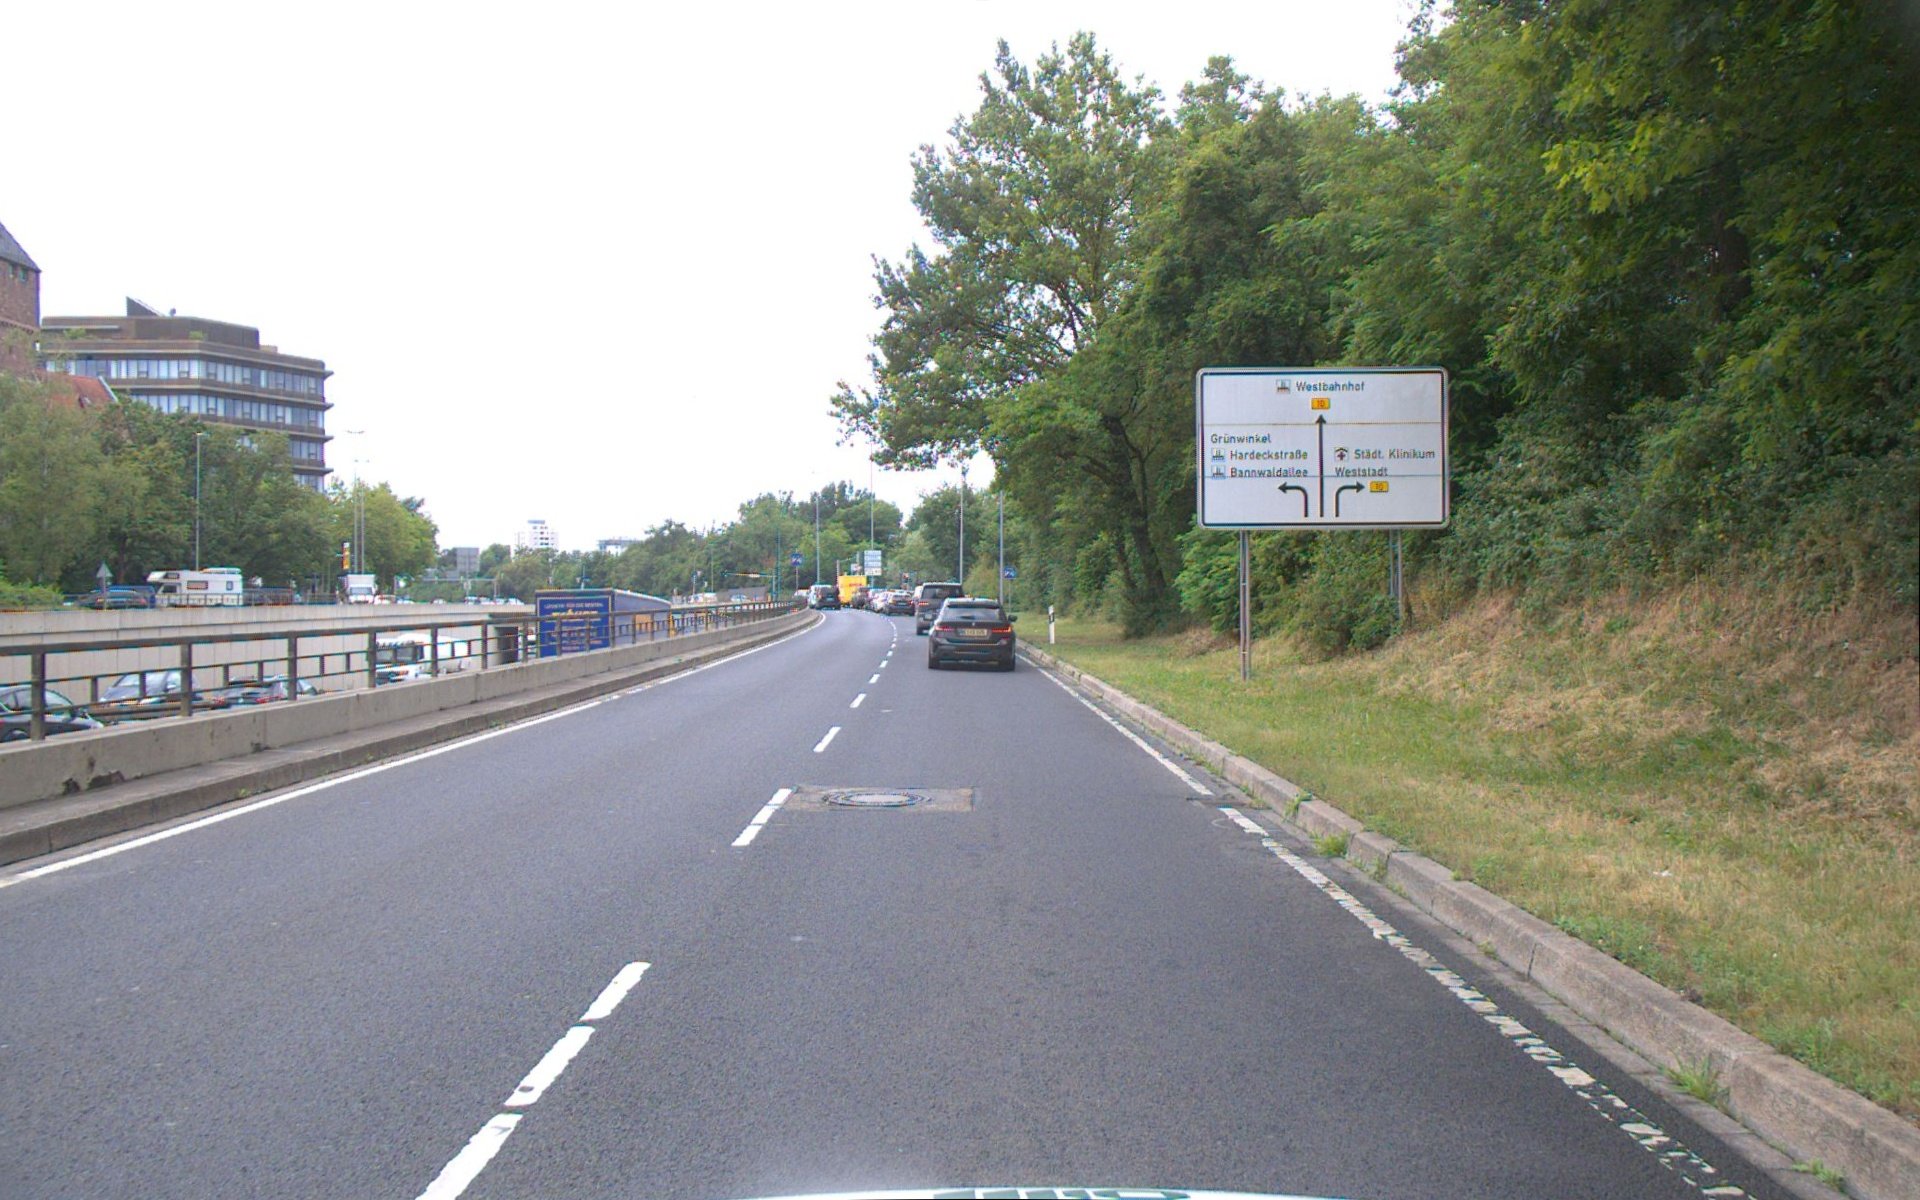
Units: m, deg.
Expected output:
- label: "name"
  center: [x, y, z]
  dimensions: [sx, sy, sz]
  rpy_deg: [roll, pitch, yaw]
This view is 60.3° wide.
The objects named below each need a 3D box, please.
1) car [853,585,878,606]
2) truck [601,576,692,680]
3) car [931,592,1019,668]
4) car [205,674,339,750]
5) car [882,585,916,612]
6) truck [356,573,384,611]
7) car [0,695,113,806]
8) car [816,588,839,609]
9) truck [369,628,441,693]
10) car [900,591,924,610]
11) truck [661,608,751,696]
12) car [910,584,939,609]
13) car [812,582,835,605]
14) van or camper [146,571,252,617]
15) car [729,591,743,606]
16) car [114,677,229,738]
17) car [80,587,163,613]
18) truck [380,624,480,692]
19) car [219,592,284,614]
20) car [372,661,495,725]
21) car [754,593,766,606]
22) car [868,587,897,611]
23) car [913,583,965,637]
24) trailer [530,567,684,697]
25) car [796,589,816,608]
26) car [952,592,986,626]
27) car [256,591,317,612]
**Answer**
- label: "car"
  center: [-8.186, -0.367, 142.697]
  dimensions: [1.849, 1.730, 4.423]
  rpy_deg: [1, 0, -6]
- label: "truck"
  center: [-12.977, 1.122, 68.824]
  dimensions: [2.794, 4.107, 6.094]
  rpy_deg: [-1, 0, -2]
- label: "car"
  center: [0.251, 0.582, 34.951]
  dimensions: [1.713, 1.451, 4.460]
  rpy_deg: [0, 1, -1]
- label: "car"
  center: [-16.365, 2.629, 39.528]
  dimensions: [1.590, 1.555, 3.896]
  rpy_deg: [1, 0, -1]
- label: "car"
  center: [-3.959, -0.093, 106.329]
  dimensions: [1.849, 1.620, 4.423]
  rpy_deg: [1, 0, -6]
- label: "truck"
  center: [-48.119, -0.648, 134.912]
  dimensions: [1.986, 3.039, 7.059]
  rpy_deg: [1, 0, -19]
- label: "car"
  center: [-16.272, 2.519, 28.280]
  dimensions: [1.622, 1.555, 3.895]
  rpy_deg: [1, 0, -2]
- label: "car"
  center: [-11.038, -0.104, 137.599]
  dimensions: [1.593, 1.731, 4.288]
  rpy_deg: [1, 0, -8]
- label: "truck"
  center: [-29.202, 3.157, 87.200]
  dimensions: [2.474, 3.276, 4.316]
  rpy_deg: [-1, 0, -3]
- label: "car"
  center: [-4.070, 0.030, 138.973]
  dimensions: [1.847, 1.572, 3.997]
  rpy_deg: [1, 0, -4]
- label: "truck"
  center: [-12.967, 2.514, 85.799]
  dimensions: [2.793, 4.107, 15.570]
  rpy_deg: [-1, 0, -2]
- label: "car"
  center: [-2.770, -0.271, 129.610]
  dimensions: [1.849, 1.912, 4.423]
  rpy_deg: [1, 0, -6]
- label: "car"
  center: [-12.055, -0.569, 145.627]
  dimensions: [1.849, 2.022, 4.423]
  rpy_deg: [1, 0, -6]
- label: "van or camper"
  center: [-49.346, -0.396, 107.310]
  dimensions: [2.110, 2.859, 5.884]
  rpy_deg: [1, -1, 44]
- label: "car"
  center: [-27.469, -0.180, 202.652]
  dimensions: [1.593, 1.731, 4.288]
  rpy_deg: [1, 0, -8]
- label: "car"
  center: [-23.663, 3.202, 49.790]
  dimensions: [1.590, 1.579, 3.952]
  rpy_deg: [-1, 0, -1]
- label: "car"
  center: [-48.487, 0.016, 95.733]
  dimensions: [1.597, 1.466, 3.982]
  rpy_deg: [1, 0, 38]
- label: "truck"
  center: [-29.445, 3.117, 92.415]
  dimensions: [2.474, 3.410, 11.043]
  rpy_deg: [-1, 0, -3]
- label: "car"
  center: [-50.407, 0.203, 117.645]
  dimensions: [1.597, 1.466, 3.982]
  rpy_deg: [1, 0, 38]
- label: "car"
  center: [-11.927, 2.080, 37.704]
  dimensions: [1.622, 1.234, 3.896]
  rpy_deg: [1, 0, -1]
- label: "car"
  center: [-26.762, -0.093, 221.262]
  dimensions: [1.593, 1.731, 4.288]
  rpy_deg: [1, 0, -8]
- label: "car"
  center: [-5.668, -0.065, 120.646]
  dimensions: [1.849, 1.620, 4.423]
  rpy_deg: [1, 0, -6]
- label: "car"
  center: [-0.781, 0.366, 62.048]
  dimensions: [1.860, 1.917, 4.414]
  rpy_deg: [1, 0, -1]
- label: "trailer"
  center: [-12.660, 1.066, 61.002]
  dimensions: [2.794, 4.107, 15.997]
  rpy_deg: [-1, 0, -2]
- label: "car"
  center: [-14.193, -0.152, 152.377]
  dimensions: [1.593, 1.731, 4.288]
  rpy_deg: [1, 0, -8]
- label: "car"
  center: [0.484, 0.526, 96.139]
  dimensions: [1.860, 1.917, 4.414]
  rpy_deg: [1, 0, -1]
- label: "car"
  center: [-51.146, 0.124, 125.672]
  dimensions: [1.597, 1.466, 3.982]
  rpy_deg: [1, 0, 38]
